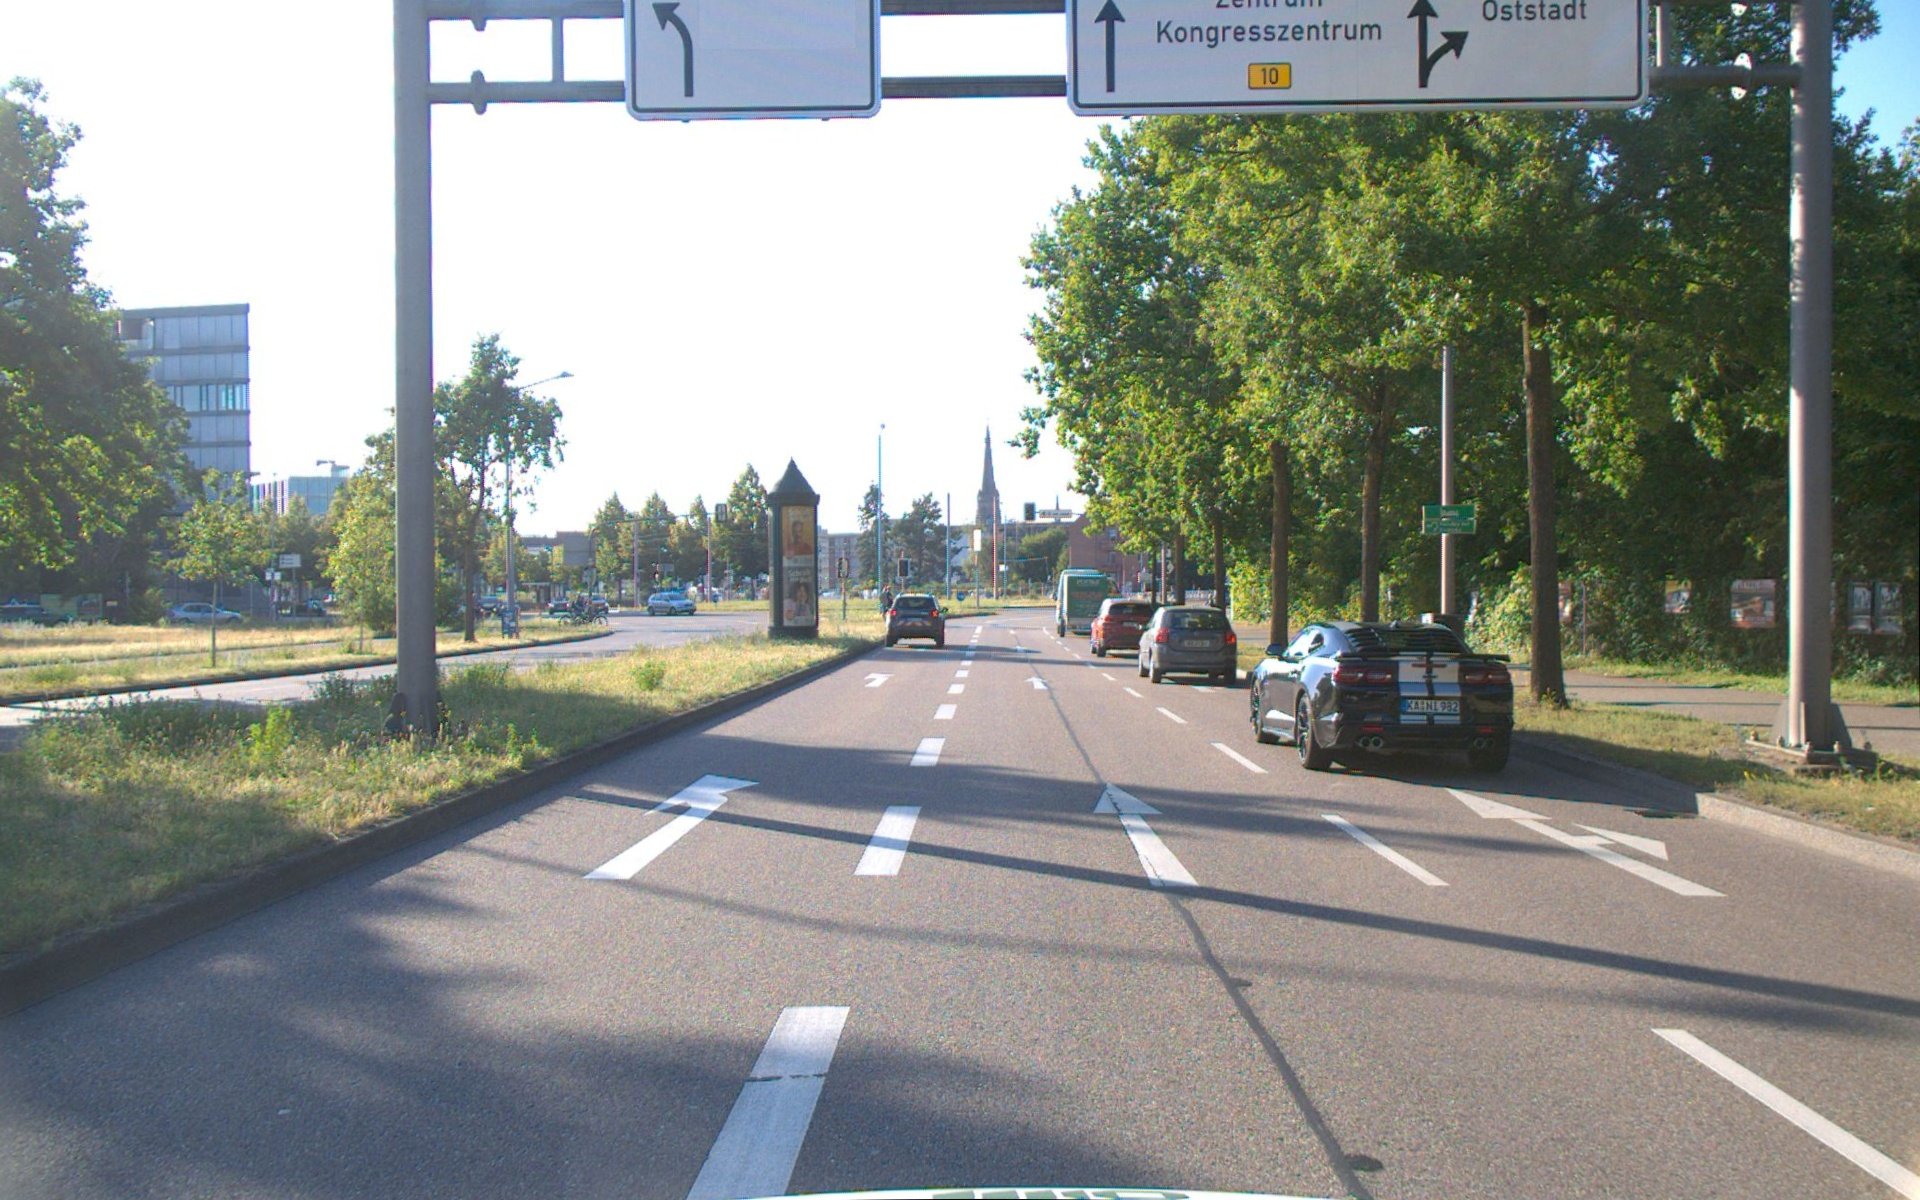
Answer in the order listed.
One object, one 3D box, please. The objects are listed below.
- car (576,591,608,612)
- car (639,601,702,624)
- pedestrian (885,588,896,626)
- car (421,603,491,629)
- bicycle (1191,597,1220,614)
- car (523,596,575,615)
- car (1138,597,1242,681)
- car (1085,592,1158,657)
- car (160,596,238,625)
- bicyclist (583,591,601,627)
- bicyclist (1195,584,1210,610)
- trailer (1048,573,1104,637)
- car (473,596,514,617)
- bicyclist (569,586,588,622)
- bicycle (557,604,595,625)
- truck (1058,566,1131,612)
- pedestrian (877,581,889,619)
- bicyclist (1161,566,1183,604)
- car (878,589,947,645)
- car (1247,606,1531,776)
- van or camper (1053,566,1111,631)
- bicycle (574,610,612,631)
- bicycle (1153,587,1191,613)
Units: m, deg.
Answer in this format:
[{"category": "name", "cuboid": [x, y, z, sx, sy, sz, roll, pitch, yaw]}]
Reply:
[{"category": "car", "cuboid": [-26.718, 0.097, 120.023, 1.874, 1.470, 4.117, -1, 1, -19]}, {"category": "car", "cuboid": [-19.146, 0.819, 109.373, 3.672, 1.459, 1.835, -1, 1, 25]}, {"category": "pedestrian", "cuboid": [-3.464, 0.349, 82.442, 0.475, 1.876, 0.672, -1, 0, 4]}, {"category": "car", "cuboid": [-31.590, 0.996, 103.667, 3.916, 1.534, 1.833, -1, 1, -27]}, {"category": "bicycle", "cuboid": [12.830, 0.277, 86.540, 1.436, 0.800, 0.438, -3, 2, -17]}, {"category": "car", "cuboid": [-33.261, 0.459, 133.844, 4.057, 1.400, 1.670, -1, 1, 29]}, {"category": "car", "cuboid": [4.534, 0.736, 33.030, 1.711, 1.499, 3.821, -1, 1, 3]}, {"category": "car", "cuboid": [4.567, 0.665, 47.295, 1.711, 1.649, 3.820, -1, 2, 0]}, {"category": "car", "cuboid": [-43.604, 0.579, 94.828, 3.677, 1.534, 1.847, -2, 1, -42]}, {"category": "bicyclist", "cuboid": [-18.961, 0.452, 85.216, 0.795, 1.820, 0.497, 1, 0, 9]}, {"category": "bicyclist", "cuboid": [12.694, -0.169, 86.503, 0.638, 1.317, 0.464, -2, 1, -17]}, {"category": "trailer", "cuboid": [4.553, 0.170, 65.321, 2.047, 2.442, 3.502, 1, 1, 1]}, {"category": "car", "cuboid": [-34.937, 0.475, 123.982, 1.632, 1.466, 3.618, -2, 1, 6]}, {"category": "bicyclist", "cuboid": [-19.364, 0.209, 83.888, 0.796, 1.801, 0.496, 1, 0, 16]}, {"category": "bicycle", "cuboid": [-19.492, 0.742, 83.923, 1.868, 1.037, 0.505, 1, 0, 16]}, {"category": "truck", "cuboid": [7.881, -0.676, 96.068, 2.527, 2.602, 6.252, -1, 1, 21]}, {"category": "pedestrian", "cuboid": [-3.793, 0.001, 81.422, 0.475, 1.876, 0.720, -1, 0, 2]}, {"category": "bicyclist", "cuboid": [10.920, -0.774, 85.238, 0.921, 1.932, 0.599, -2, 0, 38]}, {"category": "car", "cuboid": [-1.548, 0.502, 52.455, 1.869, 1.689, 3.995, -1, 0, -6]}, {"category": "car", "cuboid": [4.067, 0.784, 16.450, 1.815, 1.361, 4.627, 0, 1, 3]}, {"category": "van or camper", "cuboid": [5.208, -0.108, 71.378, 2.237, 2.675, 6.585, 0, 1, 2]}, {"category": "bicycle", "cuboid": [-18.901, 1.044, 85.251, 1.867, 1.037, 0.505, 0, 0, 8]}, {"category": "bicycle", "cuboid": [10.916, -0.012, 85.257, 1.873, 1.266, 0.606, -2, 0, 38]}]
